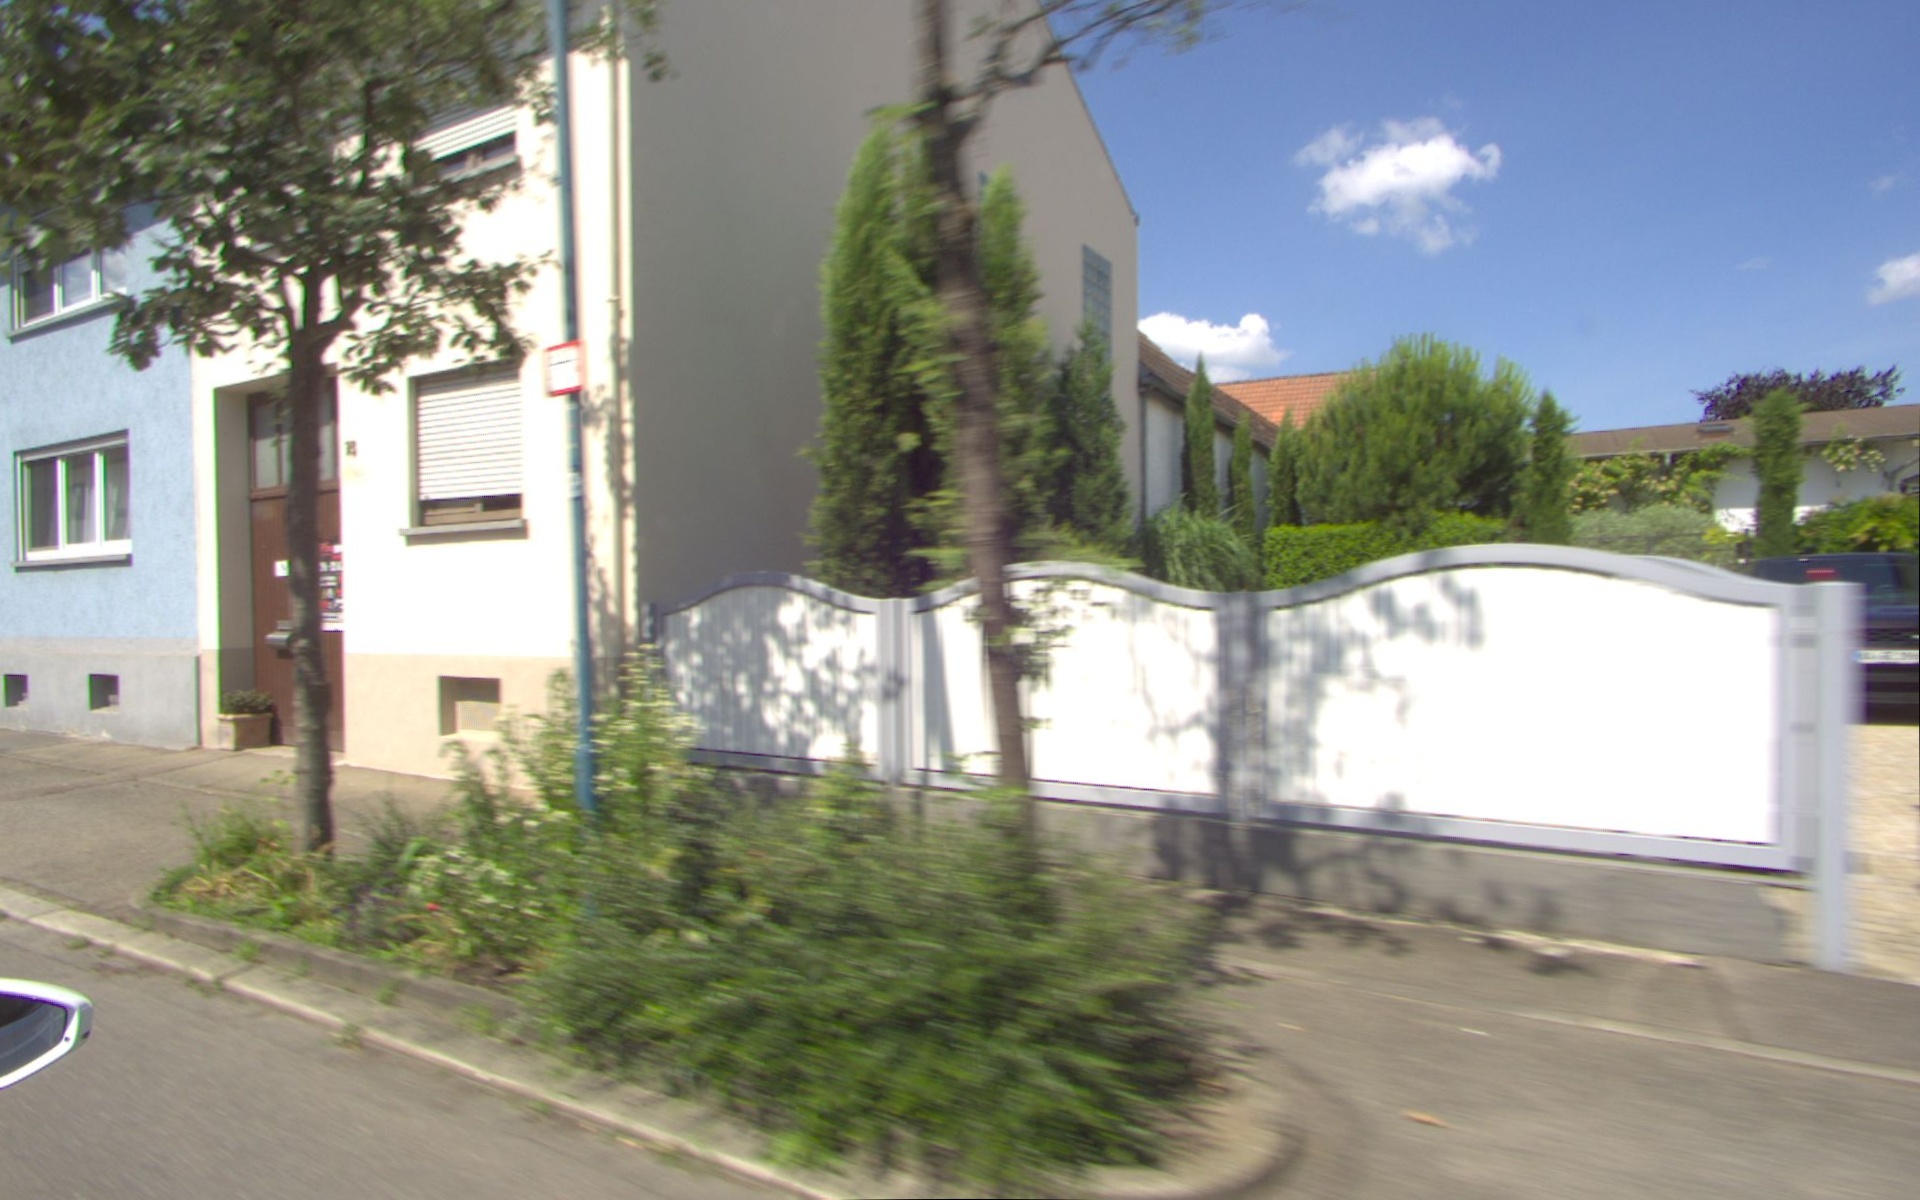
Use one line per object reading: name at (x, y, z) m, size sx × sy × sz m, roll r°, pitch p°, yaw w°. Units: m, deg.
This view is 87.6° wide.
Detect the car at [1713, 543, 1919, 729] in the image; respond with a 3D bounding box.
car at (9.785, 0.345, 11.075) m, size 1.856 × 1.726 × 3.916 m, roll 0°, pitch 0°, yaw 30°

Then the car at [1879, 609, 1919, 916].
car at (4.561, 0.746, 3.098) m, size 1.714 × 1.433 × 3.916 m, roll 0°, pitch 0°, yaw 30°

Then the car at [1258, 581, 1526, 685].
car at (6.734, 0.476, 16.061) m, size 1.626 × 1.454 × 3.922 m, roll 0°, pitch 0°, yaw -23°
